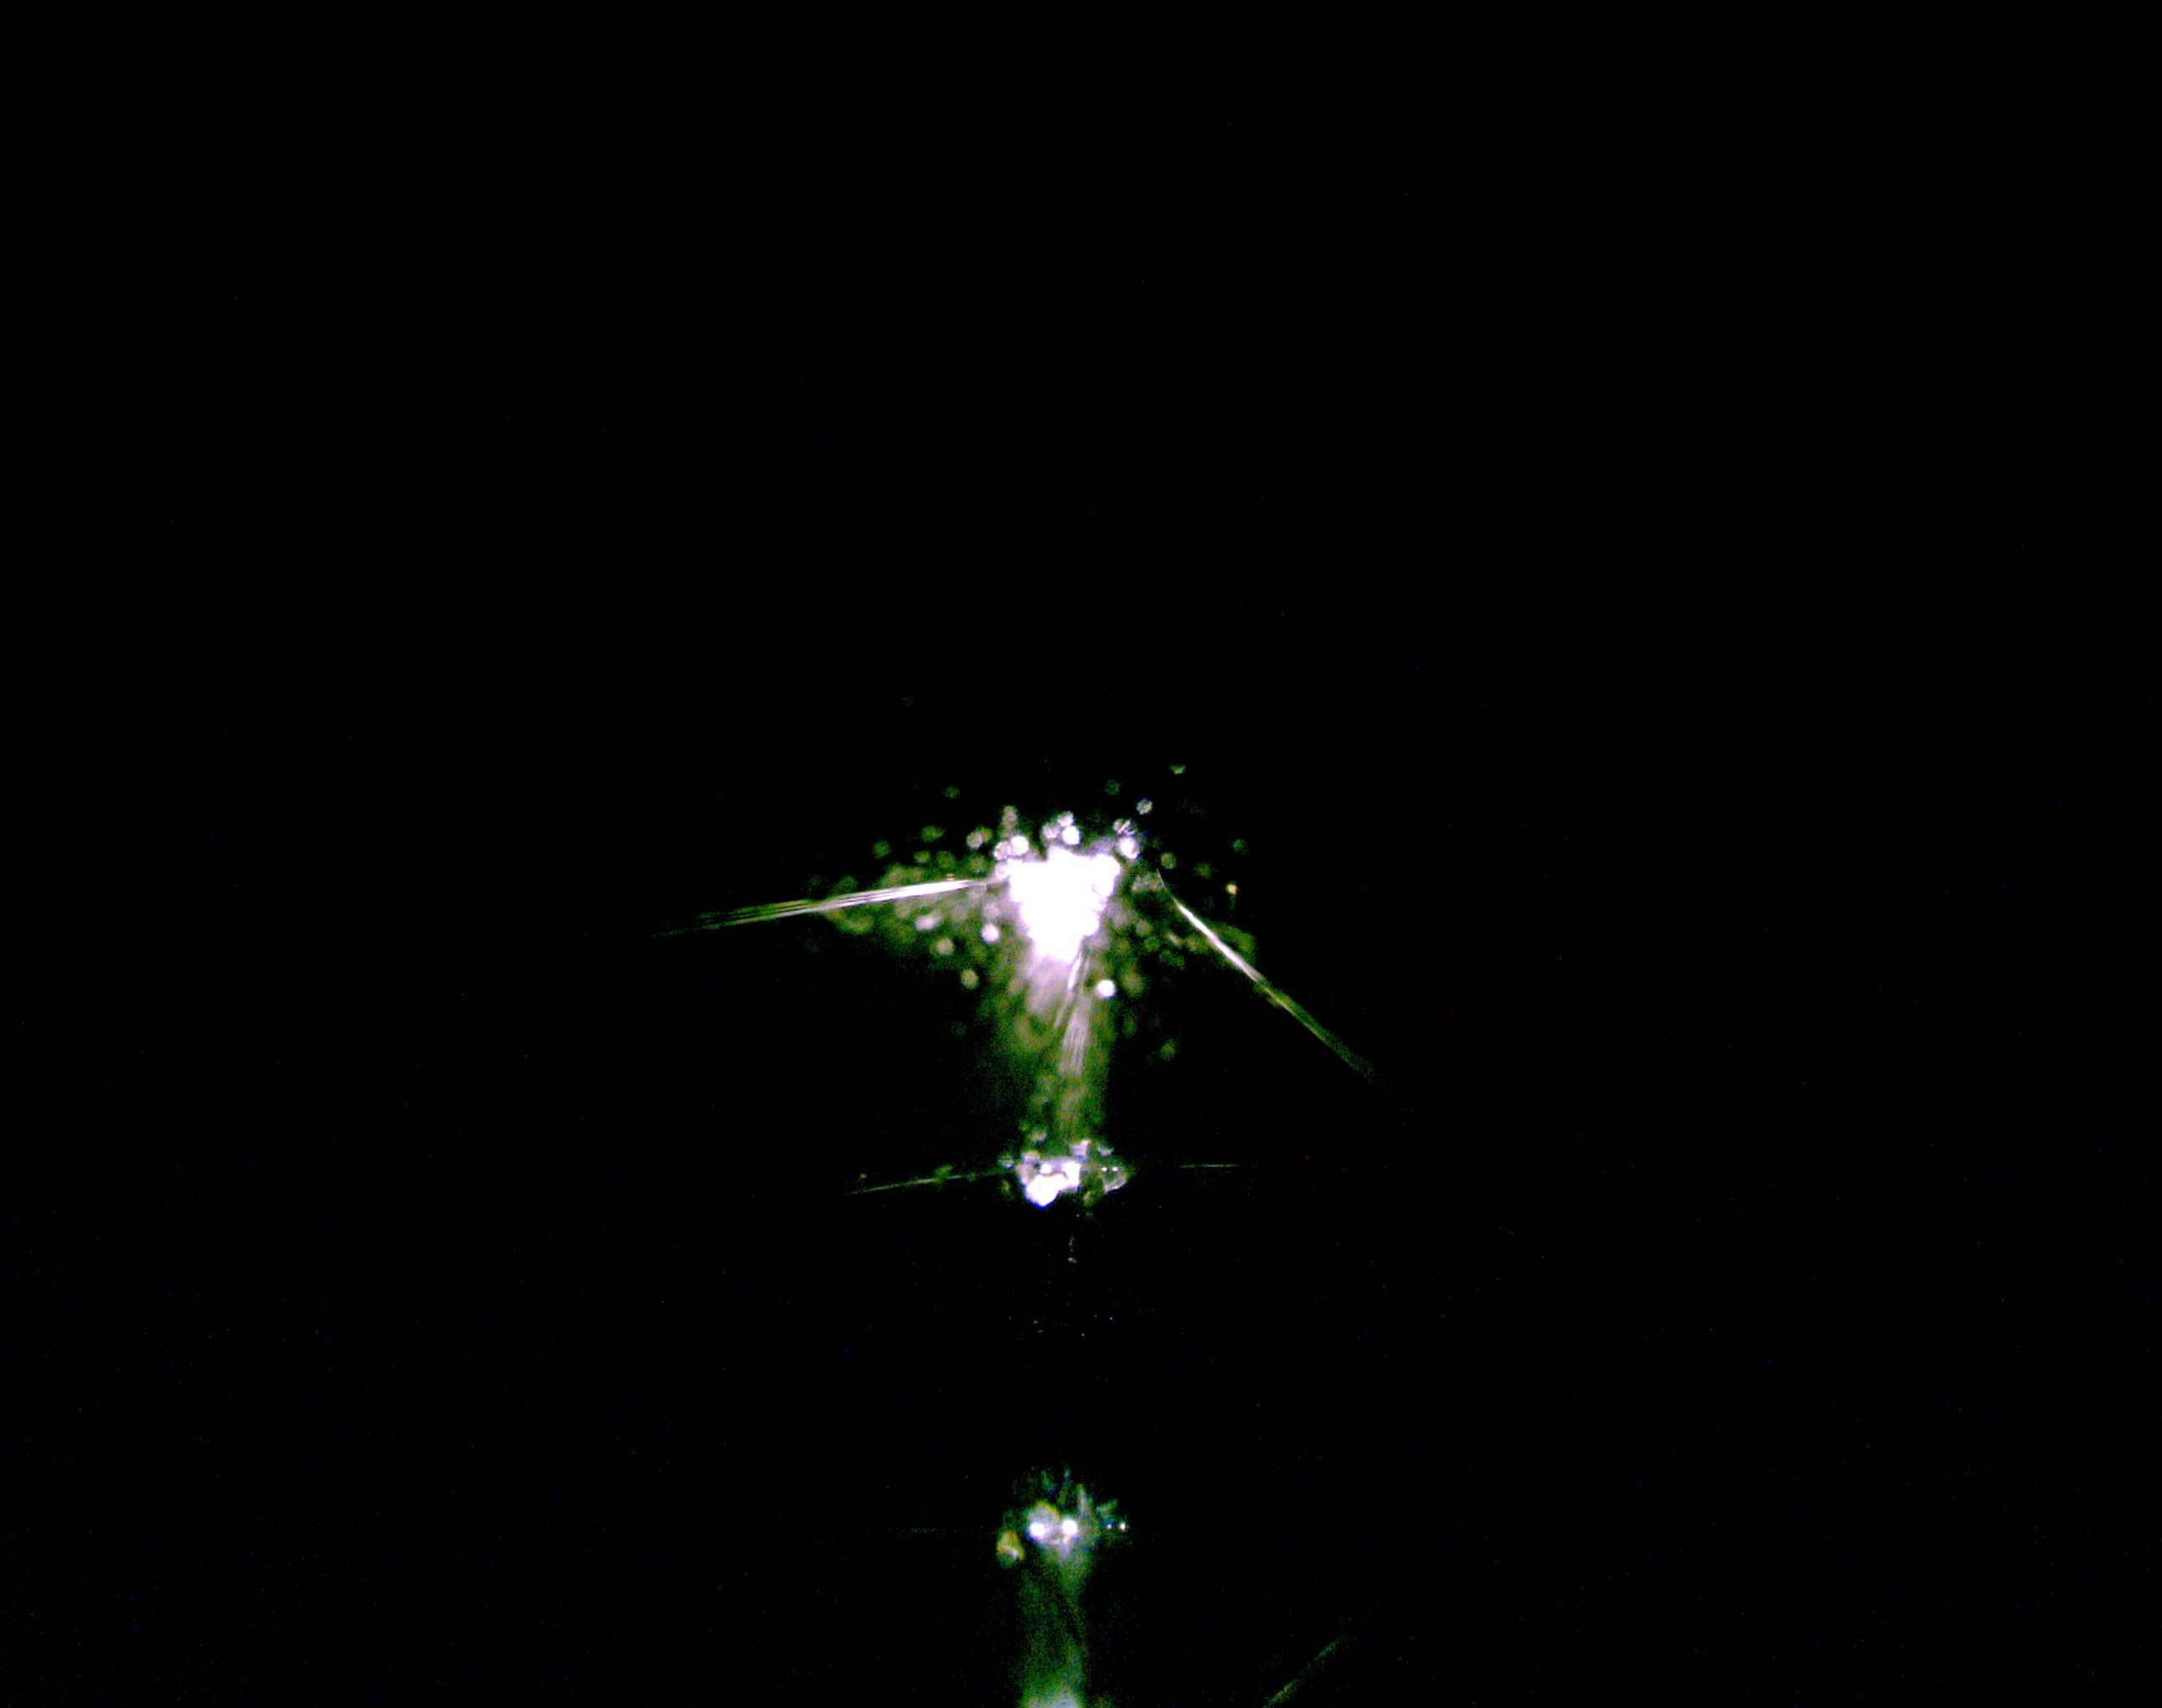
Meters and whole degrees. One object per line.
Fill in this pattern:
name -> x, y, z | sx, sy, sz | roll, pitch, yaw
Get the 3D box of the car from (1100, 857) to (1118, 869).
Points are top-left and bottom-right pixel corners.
car -> 3.518, 1.114, 100.925 | 1.908, 1.464, 4.265 | -2, 0, 5

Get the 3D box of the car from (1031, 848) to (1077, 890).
car -> -1.286, 0.708, 39.988 | 1.847, 1.940, 4.004 | -1, 0, 3
